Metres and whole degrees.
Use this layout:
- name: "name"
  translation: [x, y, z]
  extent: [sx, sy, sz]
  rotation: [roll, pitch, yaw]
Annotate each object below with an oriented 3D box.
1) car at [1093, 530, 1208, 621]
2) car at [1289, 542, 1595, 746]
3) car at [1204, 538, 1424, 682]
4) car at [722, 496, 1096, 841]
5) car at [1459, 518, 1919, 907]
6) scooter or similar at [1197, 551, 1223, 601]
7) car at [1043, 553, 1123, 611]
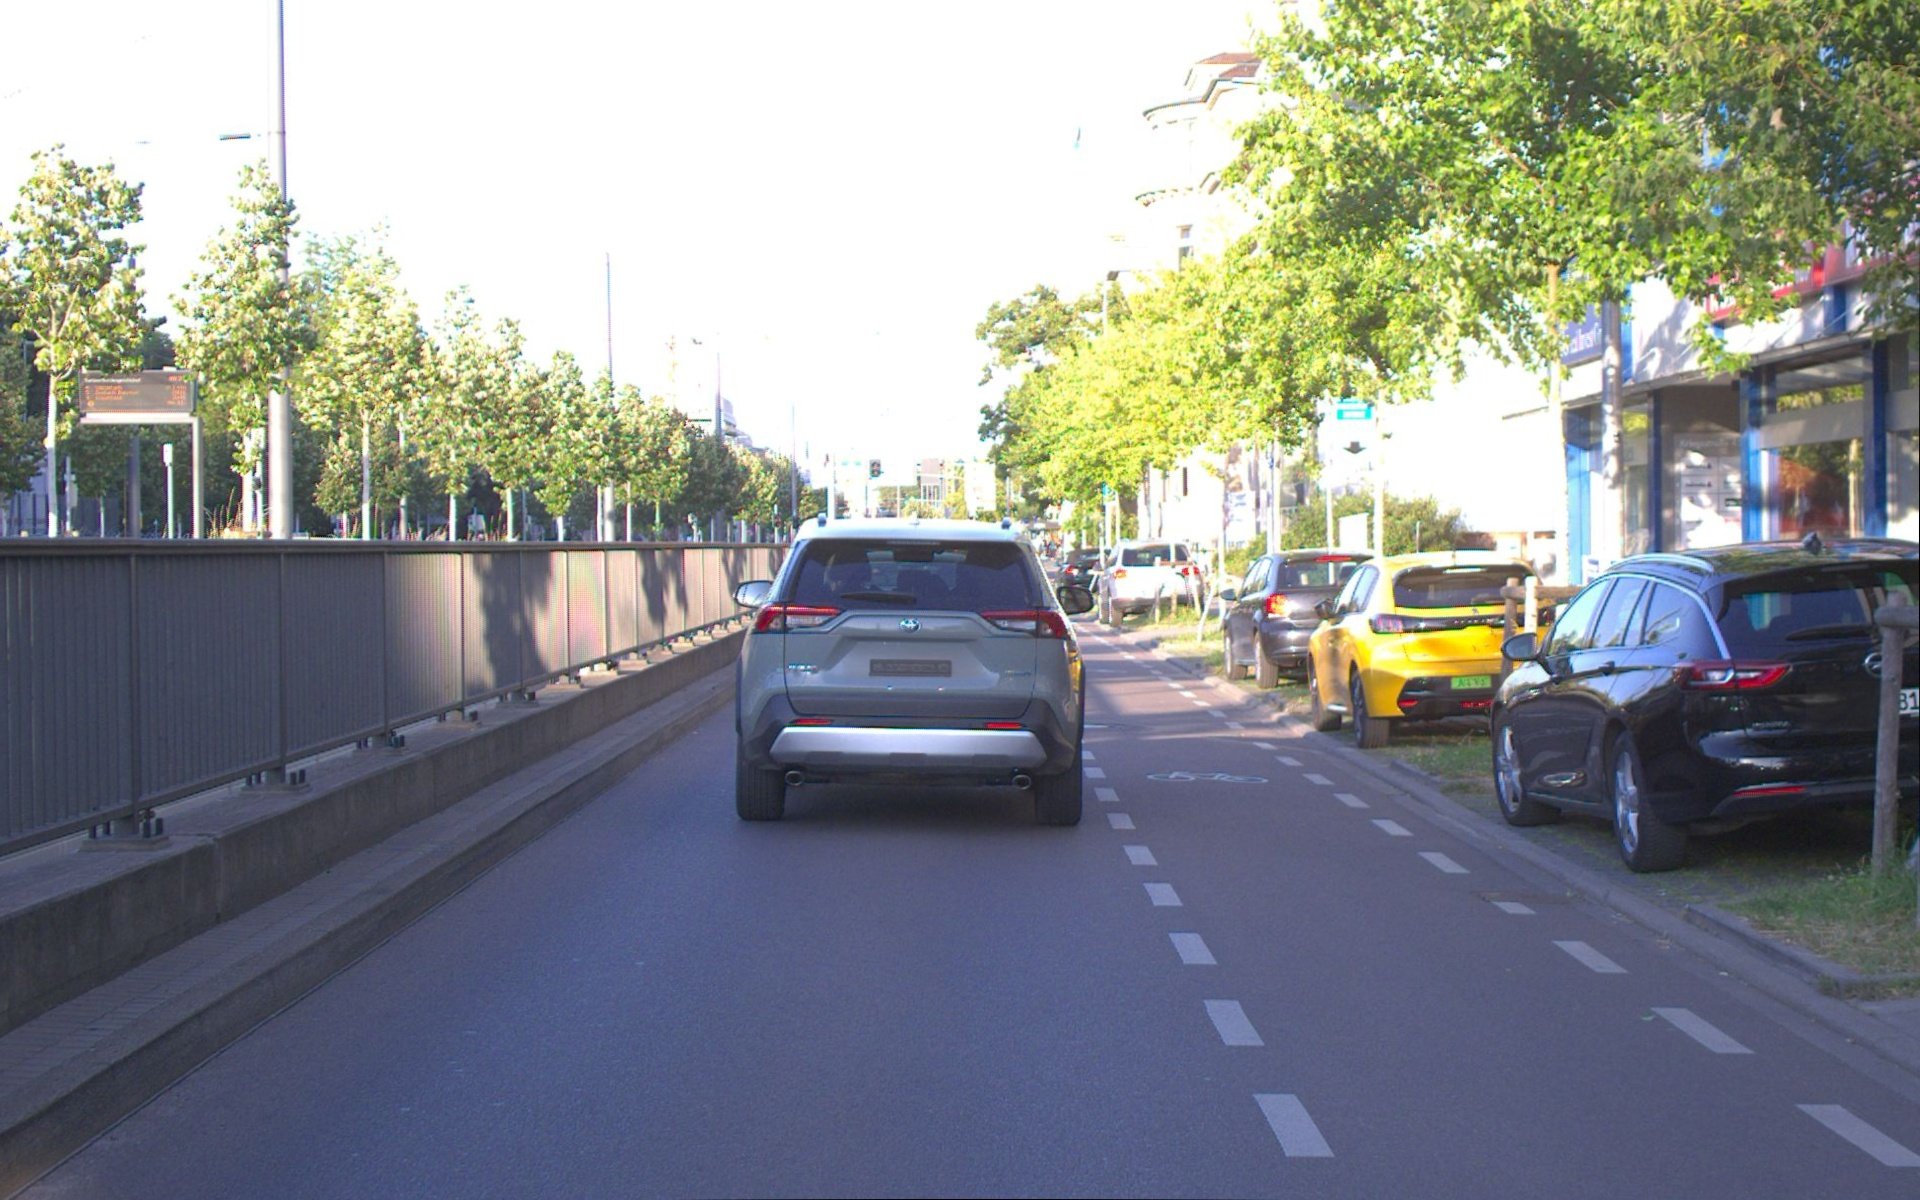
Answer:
- name: "car"
  translation: [3.660, -0.501, 66.765]
  extent: [1.854, 1.701, 4.254]
  rotation: [0, 1, -2]
- name: "car"
  translation: [3.738, 0.297, 27.287]
  extent: [1.683, 1.449, 4.130]
  rotation: [-1, 1, -2]
- name: "car"
  translation: [3.803, 0.076, 37.551]
  extent: [1.819, 1.449, 4.129]
  rotation: [-1, 1, -2]
- name: "car"
  translation: [-0.328, 0.325, 19.541]
  extent: [1.857, 1.708, 4.193]
  rotation: [1, 1, -2]
- name: "car"
  translation: [3.868, 0.434, 17.113]
  extent: [1.819, 1.561, 4.811]
  rotation: [-4, 1, -2]
- name: "scooter or similar"
  translation: [6.402, -0.611, 87.928]
  extent: [0.490, 1.254, 1.208]
  rotation: [1, 0, -4]
- name: "car"
  translation: [3.419, -0.515, 96.144]
  extent: [1.792, 1.466, 4.446]
  rotation: [-3, 1, -3]
